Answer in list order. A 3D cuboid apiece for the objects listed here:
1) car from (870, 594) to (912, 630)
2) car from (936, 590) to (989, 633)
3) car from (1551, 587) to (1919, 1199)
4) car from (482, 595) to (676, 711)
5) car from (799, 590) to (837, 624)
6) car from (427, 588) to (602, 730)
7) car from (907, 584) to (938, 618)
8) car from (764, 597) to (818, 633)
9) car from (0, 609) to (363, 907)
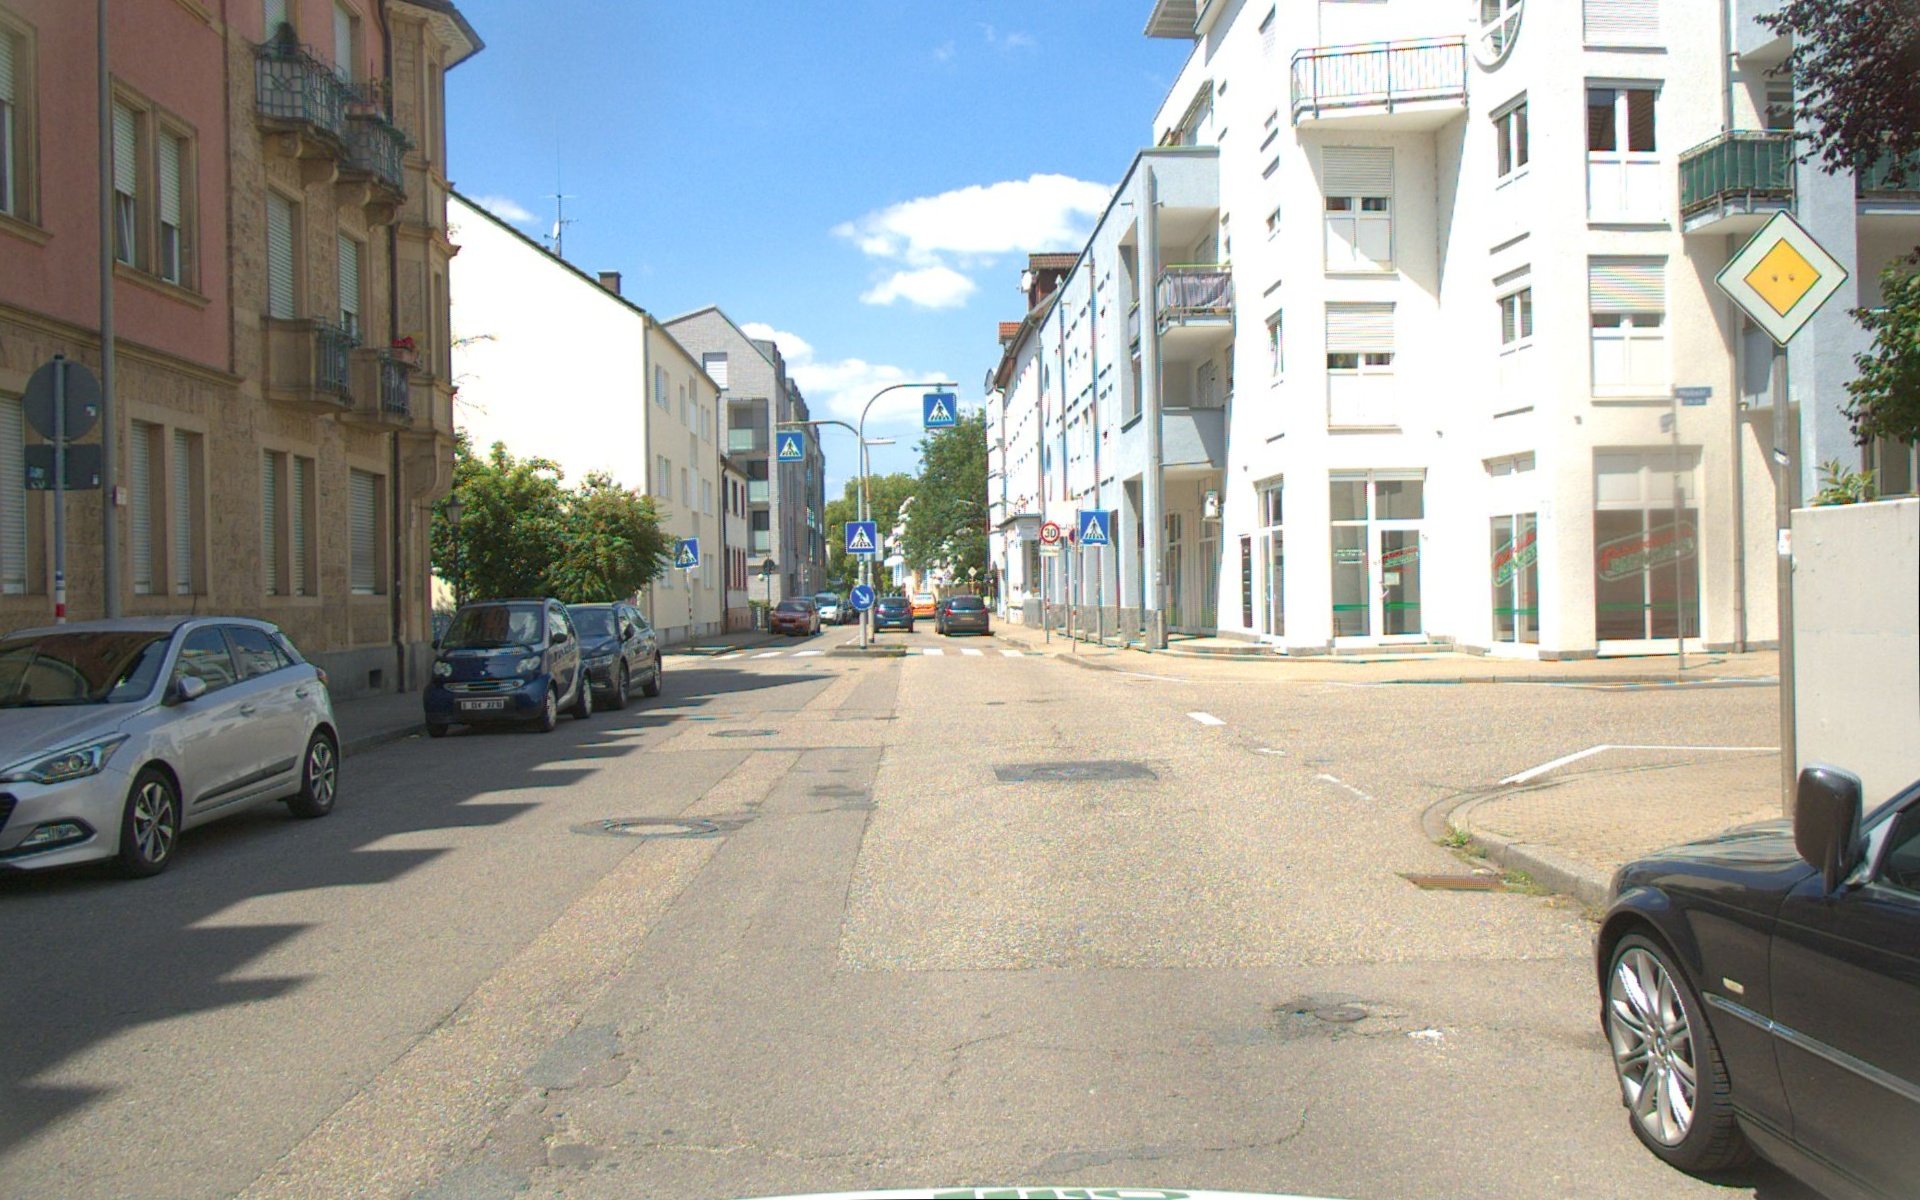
[{"bbox_3d":[-2.897,0.485,69.978,1.681,1.426,3.999,-2,1,-2],"label":"car"},{"bbox_3d":[0.067,0.415,62.534,1.676,1.534,3.997,-2,0,-4],"label":"car"},{"bbox_3d":[2.697,0.684,2.860,1.623,1.400,4.237,-2,0,-3],"label":"car"},{"bbox_3d":[-5.464,0.704,24.308,1.746,1.483,4.634,-2,0,0],"label":"car"},{"bbox_3d":[-8.331,0.410,97.458,1.720,1.925,4.337,1,0,2],"label":"car"},{"bbox_3d":[-5.328,0.666,20.042,1.407,1.549,2.694,-2,0,-2],"label":"car"},{"bbox_3d":[-2.338,0.035,102.615,1.802,2.049,3.999,-2,1,-2],"label":"car"},{"bbox_3d":[-7.078,0.615,69.731,1.796,1.441,4.289,-1,0,0],"label":"car"},{"bbox_3d":[-5.350,0.854,10.494,1.601,1.456,4.018,-3,0,0],"label":"car"}]
